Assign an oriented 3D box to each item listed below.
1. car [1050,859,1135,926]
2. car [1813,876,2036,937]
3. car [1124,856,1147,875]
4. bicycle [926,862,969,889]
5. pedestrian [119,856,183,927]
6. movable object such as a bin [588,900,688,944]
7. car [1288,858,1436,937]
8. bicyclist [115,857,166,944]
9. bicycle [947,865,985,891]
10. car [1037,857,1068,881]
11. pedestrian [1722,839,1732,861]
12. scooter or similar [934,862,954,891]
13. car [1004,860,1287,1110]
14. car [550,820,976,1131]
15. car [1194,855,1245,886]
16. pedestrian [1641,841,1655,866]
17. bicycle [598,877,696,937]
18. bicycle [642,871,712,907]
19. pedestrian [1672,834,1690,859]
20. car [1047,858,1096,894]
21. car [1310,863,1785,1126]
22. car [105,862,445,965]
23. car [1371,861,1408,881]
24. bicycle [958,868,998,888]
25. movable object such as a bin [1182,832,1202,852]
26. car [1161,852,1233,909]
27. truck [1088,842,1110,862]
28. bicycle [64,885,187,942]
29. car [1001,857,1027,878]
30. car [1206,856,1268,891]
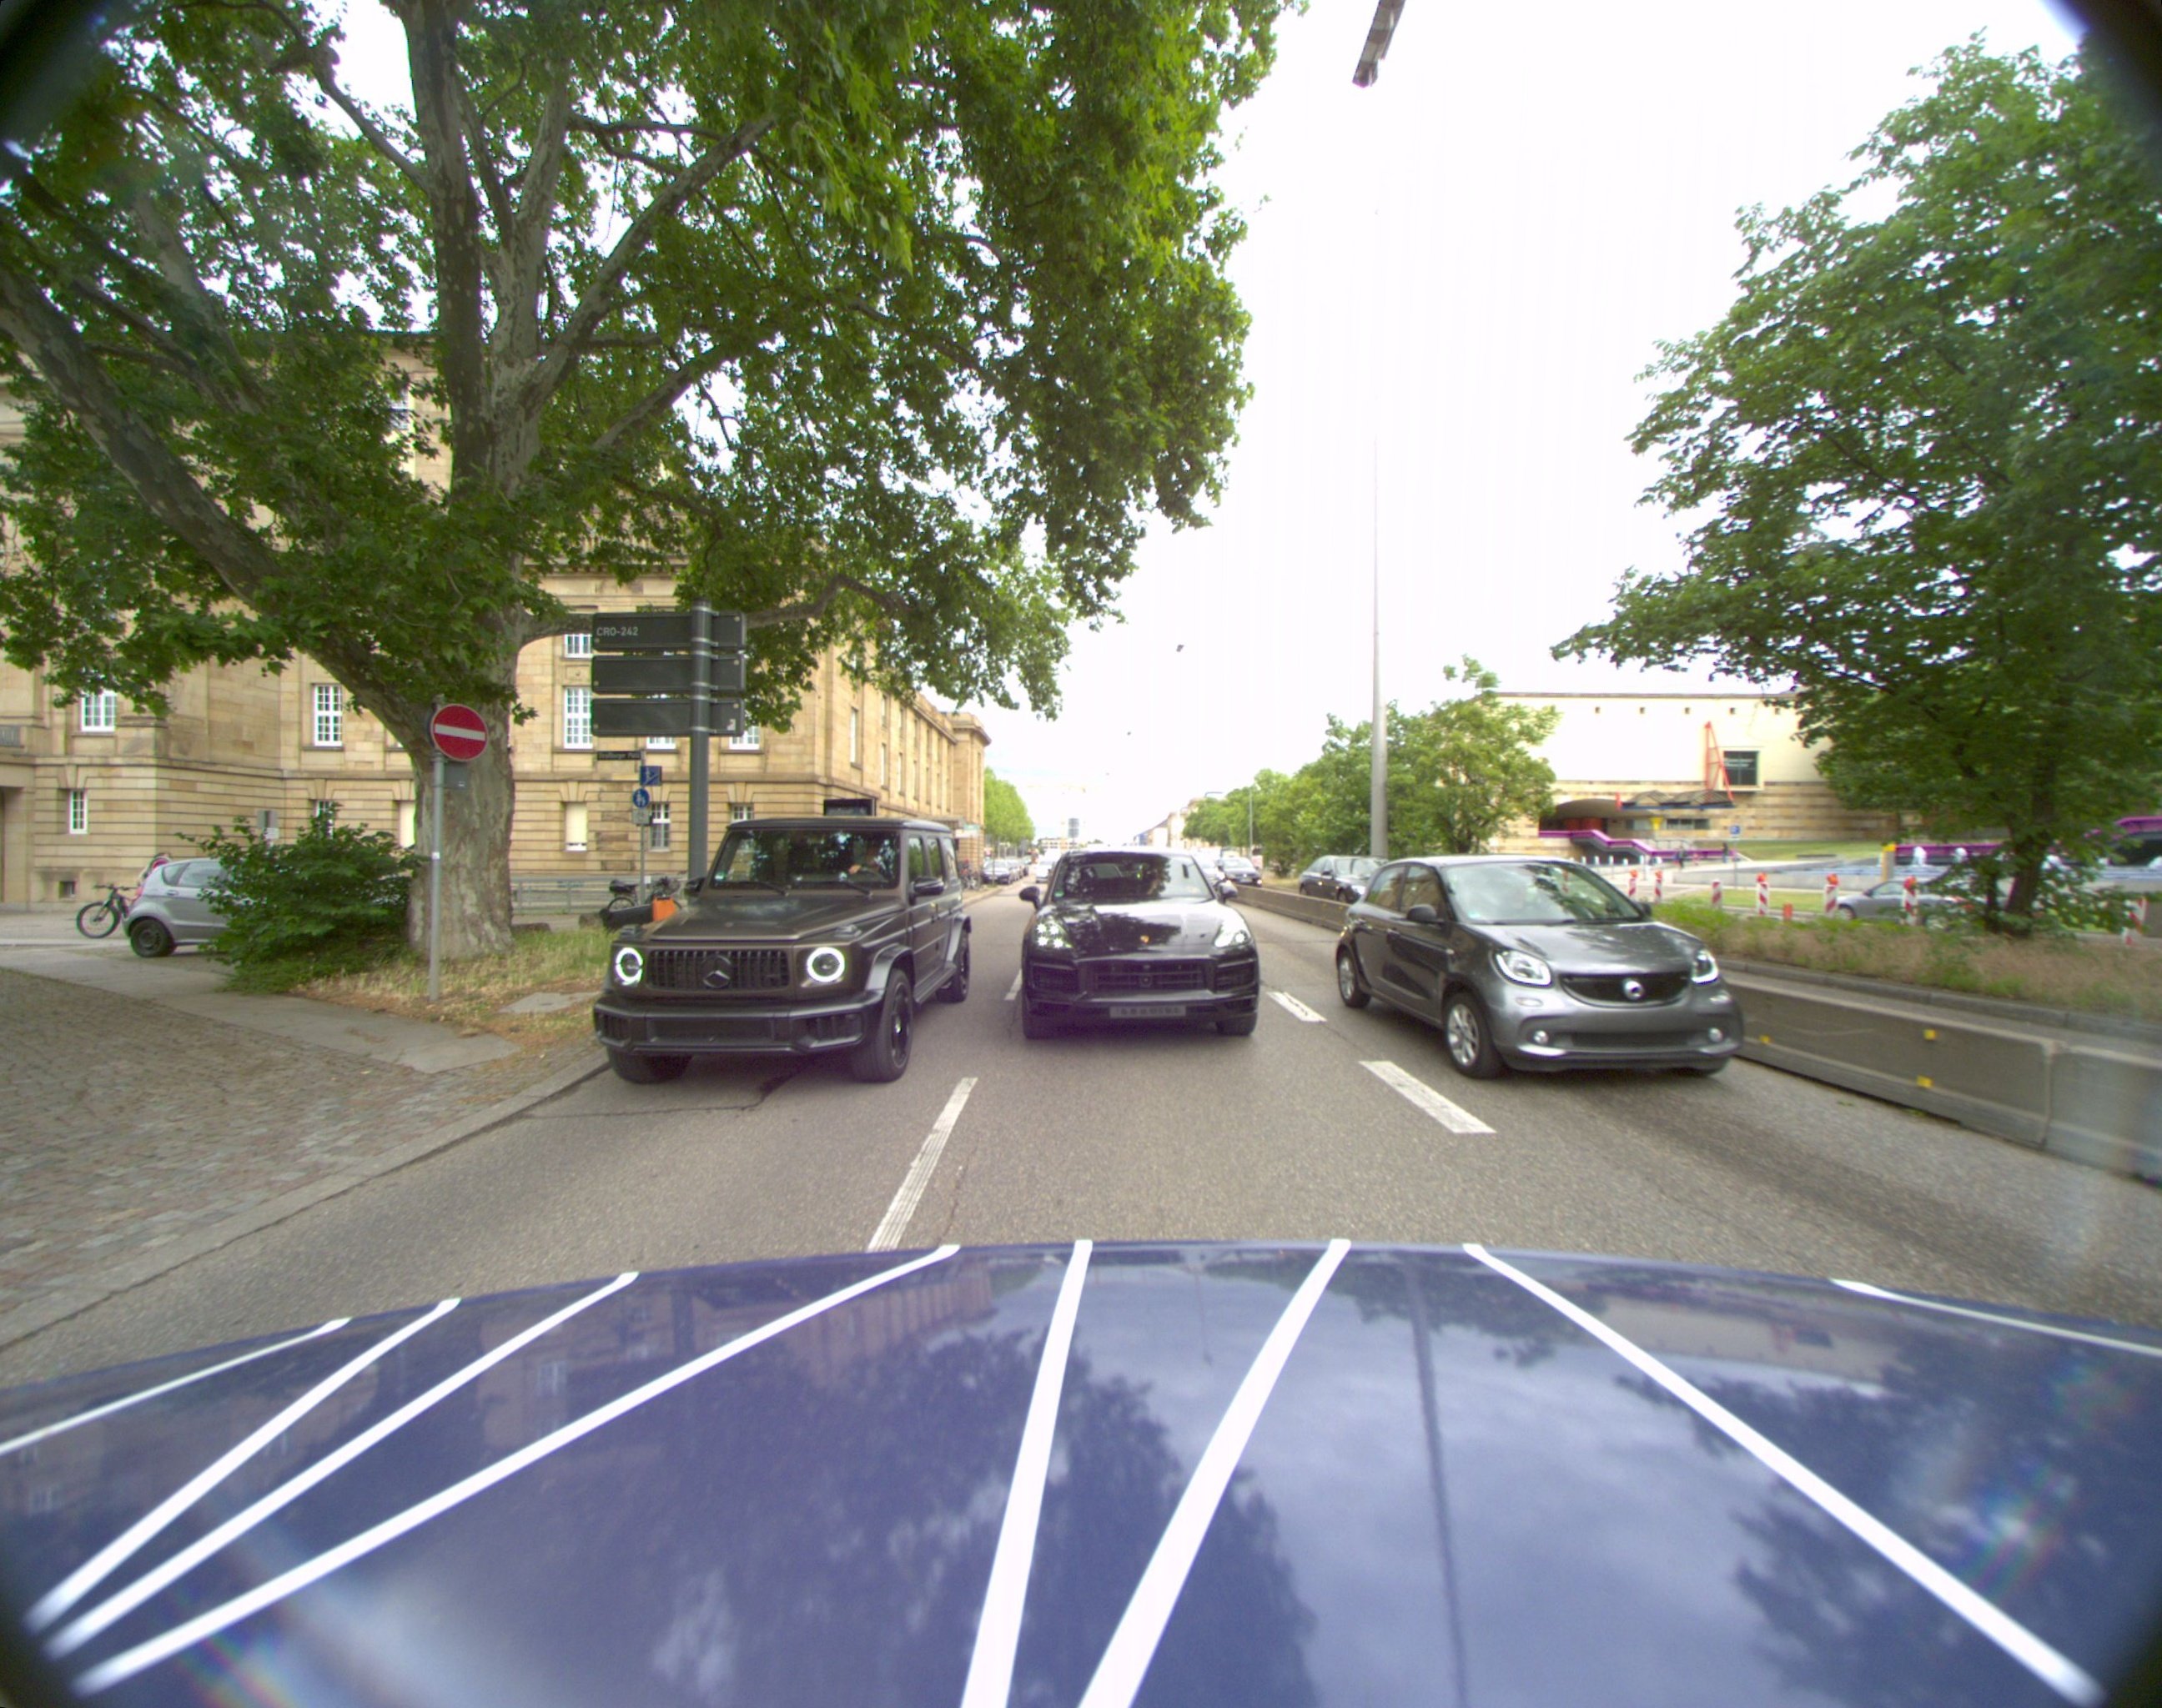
[{"bbox_3d":[0.230,0.895,19.302,1.930,1.501,4.000,0,0,-1],"label":"car"},{"bbox_3d":[23.424,1.397,21.356,1.853,1.450,4.000,0,0,1],"label":"car"},{"bbox_3d":[4.721,0.977,66.800,1.730,1.611,3.944,-1,1,0],"label":"car"},{"bbox_3d":[-5.601,0.919,31.921,1.731,1.085,0.426,-1,0,14],"label":"bicycle"},{"bbox_3d":[-22.661,0.901,18.524,0.681,1.712,0.704,0,0,-1],"label":"pedestrian"},{"bbox_3d":[-7.705,1.179,13.247,1.301,0.648,0.729,-2,1,9],"label":"movable object such as a bin"},{"bbox_3d":[6.648,0.943,18.651,1.928,1.626,4.937,-1,0,2],"label":"car"},{"bbox_3d":[-19.226,0.935,15.545,0.437,1.738,0.475,0,0,-7],"label":"bicyclist"},{"bbox_3d":[-5.182,1.088,34.267,1.616,1.123,0.469,-1,0,-25],"label":"bicycle"},{"bbox_3d":[-1.845,0.924,49.521,1.930,1.501,3.999,0,0,-2],"label":"car"},{"bbox_3d":[48.566,-0.295,57.135,0.348,1.602,0.405,-2,1,1],"label":"pedestrian"},{"bbox_3d":[-6.253,1.021,34.722,0.563,1.271,1.149,-1,0,7],"label":"scooter or similar"},{"bbox_3d":[0.254,0.900,7.289,1.909,1.648,4.198,0,0,-7],"label":"car"},{"bbox_3d":[-2.262,0.750,6.877,1.952,1.914,4.399,0,0,1],"label":"car"},{"bbox_3d":[7.304,0.838,40.367,1.677,1.498,3.852,-1,0,-5],"label":"car"},{"bbox_3d":[41.687,-0.022,55.843,0.805,1.842,0.692,-3,1,-43],"label":"pedestrian"},{"bbox_3d":[-9.039,1.098,15.844,1.789,1.214,0.492,0,1,4],"label":"bicycle"},{"bbox_3d":[-12.856,1.111,24.204,2.016,1.119,0.389,0,1,0],"label":"bicycle"},{"bbox_3d":[44.894,-0.593,56.833,0.693,1.842,0.804,-2,1,1],"label":"pedestrian"},{"bbox_3d":[-0.490,0.921,33.789,1.931,1.501,3.998,0,0,-4],"label":"car"},{"bbox_3d":[3.405,0.872,6.564,1.690,1.496,4.000,-1,0,1],"label":"car"},{"bbox_3d":[-13.103,0.930,12.524,3.845,1.559,1.679,0,0,1],"label":"car"},{"bbox_3d":[25.707,1.388,63.408,1.649,1.518,4.525,0,0,6],"label":"car"},{"bbox_3d":[-4.842,1.123,35.739,1.730,0.912,0.614,0,1,19],"label":"bicycle"},{"bbox_3d":[12.311,-1.291,84.453,1.526,2.172,3.291,0,0,-4],"label":"movable object such as a bin"},{"bbox_3d":[3.661,0.775,24.575,1.690,1.646,3.999,-1,0,0],"label":"car"},{"bbox_3d":[2.501,-0.224,110.086,2.978,2.757,7.254,0,0,0],"label":"truck"},{"bbox_3d":[-19.663,1.218,15.654,1.755,1.125,0.443,0,0,-7],"label":"bicycle"},{"bbox_3d":[-5.105,1.001,58.369,1.620,1.446,3.858,1,0,0],"label":"car"},{"bbox_3d":[6.841,0.814,33.726,1.664,1.445,4.196,-1,0,-4],"label":"car"}]
